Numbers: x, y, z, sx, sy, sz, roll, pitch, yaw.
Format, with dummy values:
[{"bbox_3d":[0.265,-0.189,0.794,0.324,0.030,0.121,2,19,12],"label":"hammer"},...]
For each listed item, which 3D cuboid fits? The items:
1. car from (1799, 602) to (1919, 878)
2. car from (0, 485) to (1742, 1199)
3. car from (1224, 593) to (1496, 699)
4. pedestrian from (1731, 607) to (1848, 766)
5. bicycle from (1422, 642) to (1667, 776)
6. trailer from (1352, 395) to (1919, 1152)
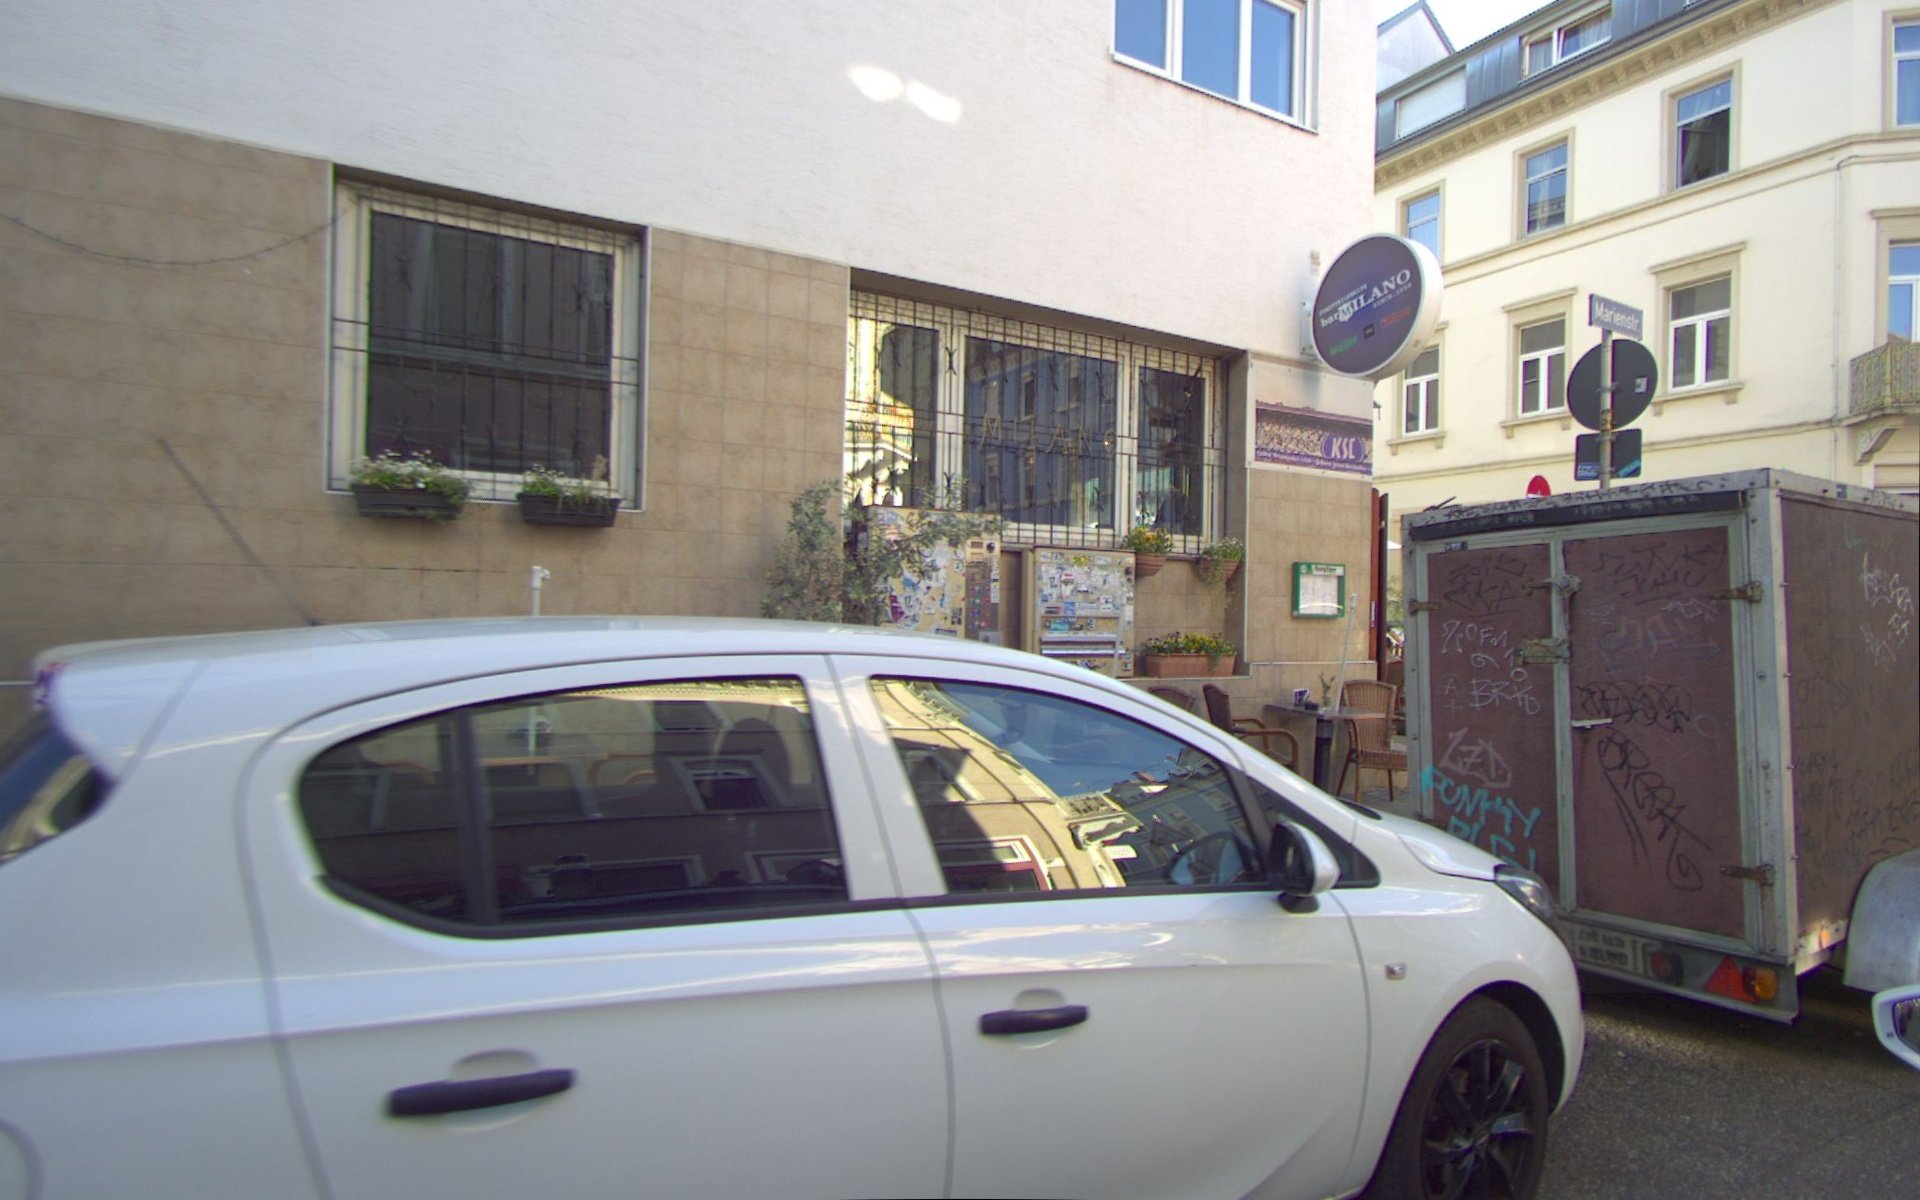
[{"bbox_3d":[7.564,0.843,6.770,4.119,1.626,1.713,1,-2,-32],"label":"car"},{"bbox_3d":[0.003,0.748,2.402,3.773,1.575,1.669,2,-2,-30],"label":"car"},{"bbox_3d":[7.945,0.818,20.510,1.837,1.875,5.056,1,0,-33],"label":"car"},{"bbox_3d":[9.673,0.975,11.723,0.854,1.725,0.690,-1,5,-29],"label":"pedestrian"},{"bbox_3d":[7.015,1.240,12.225,0.917,1.377,2.465,1,-1,-28],"label":"bicycle"},{"bbox_3d":[3.884,0.554,4.653,4.316,2.088,1.652,2,-2,-33],"label":"trailer"}]
